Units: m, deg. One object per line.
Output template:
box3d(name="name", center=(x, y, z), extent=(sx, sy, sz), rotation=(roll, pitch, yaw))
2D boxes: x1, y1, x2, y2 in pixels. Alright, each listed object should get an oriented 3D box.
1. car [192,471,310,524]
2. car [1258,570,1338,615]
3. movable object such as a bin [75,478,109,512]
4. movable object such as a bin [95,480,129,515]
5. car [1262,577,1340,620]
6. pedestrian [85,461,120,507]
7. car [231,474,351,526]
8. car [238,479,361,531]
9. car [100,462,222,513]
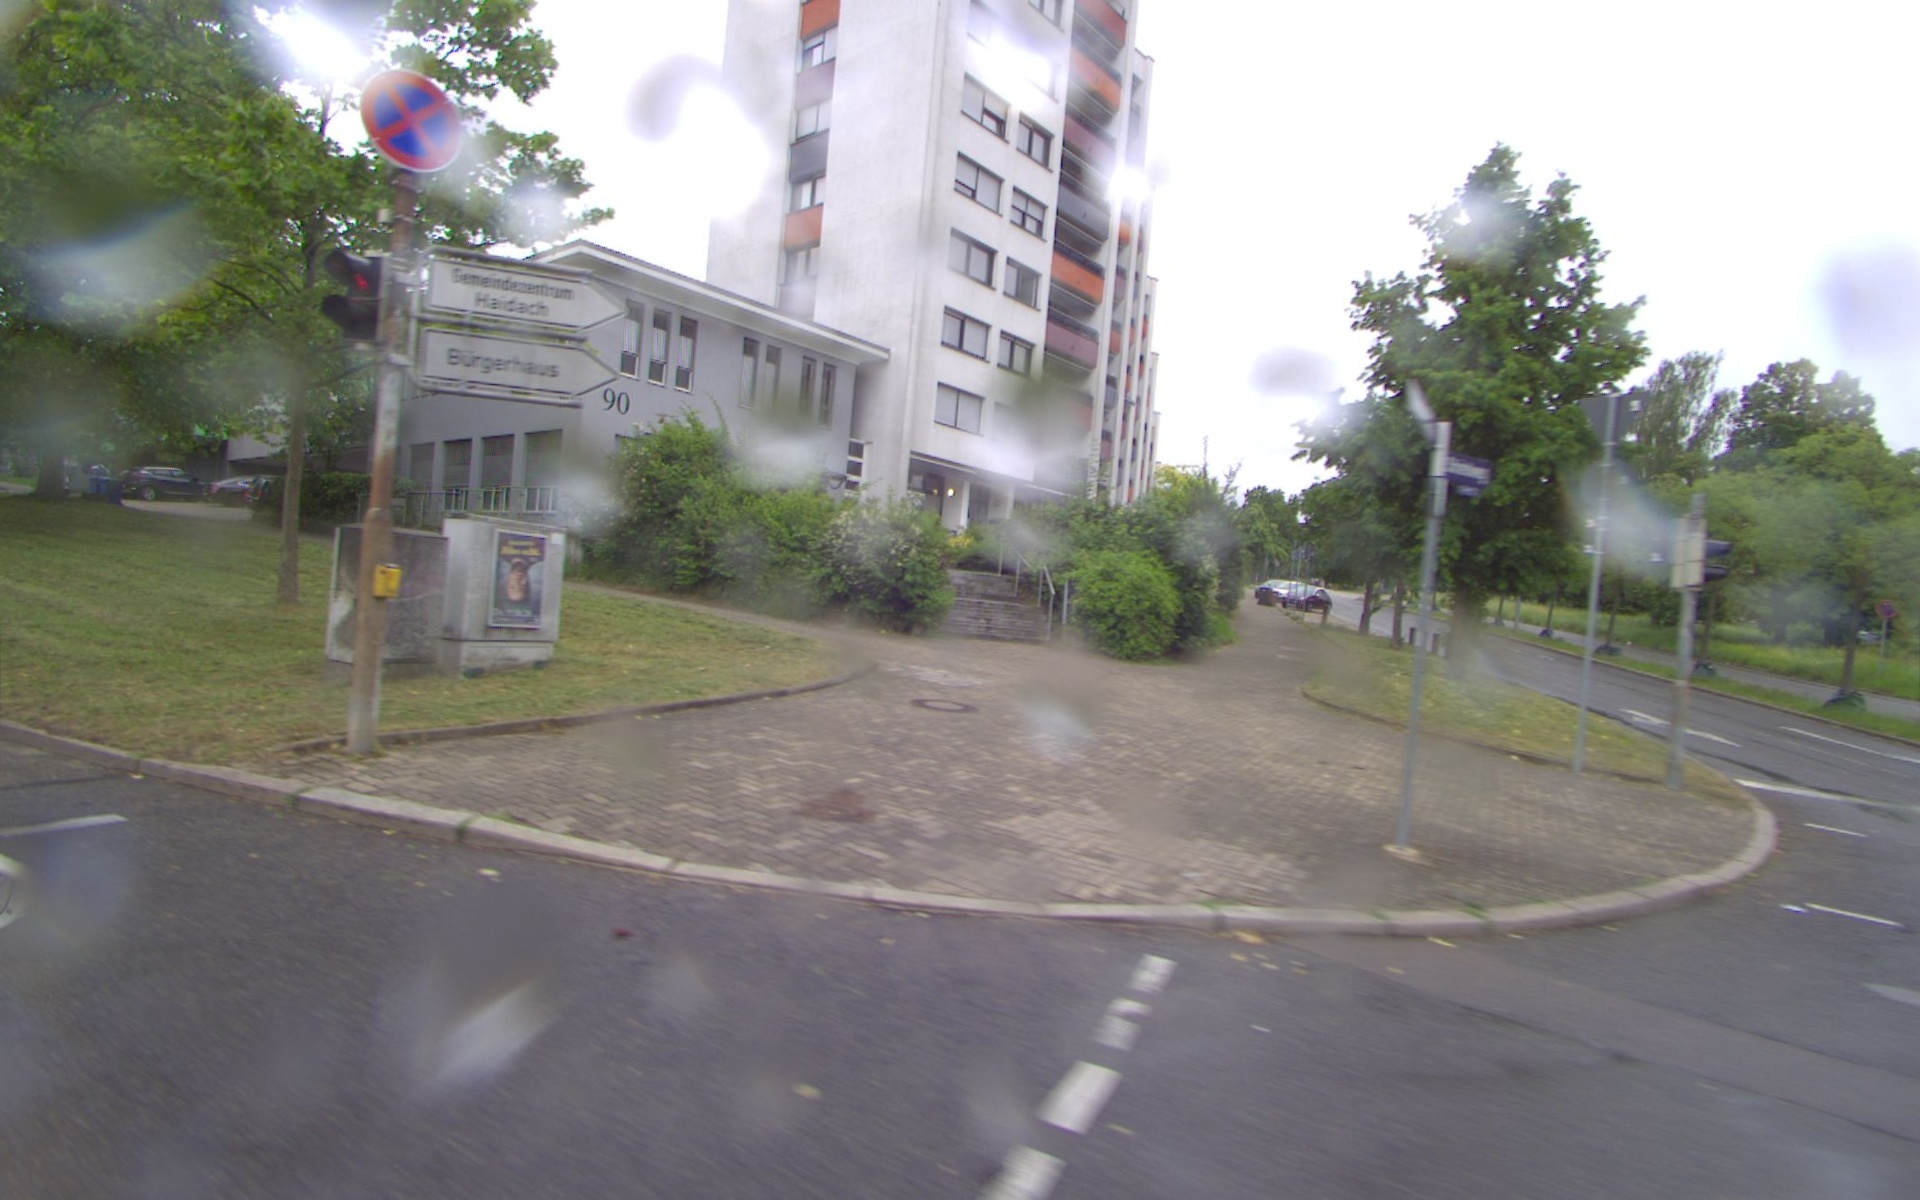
box3d(name="car", center=(-32.128, -4.623, 45.635), extent=(1.972, 1.772, 3.979), rotation=(7, 1, 41))
box3d(name="car", center=(18.849, -0.431, 56.056), extent=(3.927, 2.040, 1.998), rotation=(7, 2, 22))
box3d(name="movable object such as a bin", center=(-32.222, -3.898, 37.352), extent=(0.651, 1.133, 0.670), rotation=(6, -1, 30))
box3d(name="movable object such as a bin", center=(-31.441, -3.797, 37.297), extent=(0.651, 1.133, 0.670), rotation=(6, -1, 30))
box3d(name="car", center=(19.749, -0.087, 58.259), extent=(3.927, 2.040, 1.998), rotation=(7, 2, 22))
box3d(name="pedestrian", center=(-35.451, -4.787, 41.607), extent=(0.834, 1.773, 0.663), rotation=(6, 2, 17))
box3d(name="car", center=(-29.874, -4.457, 45.012), extent=(1.931, 1.683, 3.982), rotation=(7, 1, 39))
box3d(name="car", center=(-28.296, -4.072, 43.201), extent=(1.972, 1.661, 3.979), rotation=(7, 1, 41))
box3d(name="car", center=(-37.747, -5.282, 47.637), extent=(1.965, 1.772, 3.993), rotation=(7, 1, 28))
